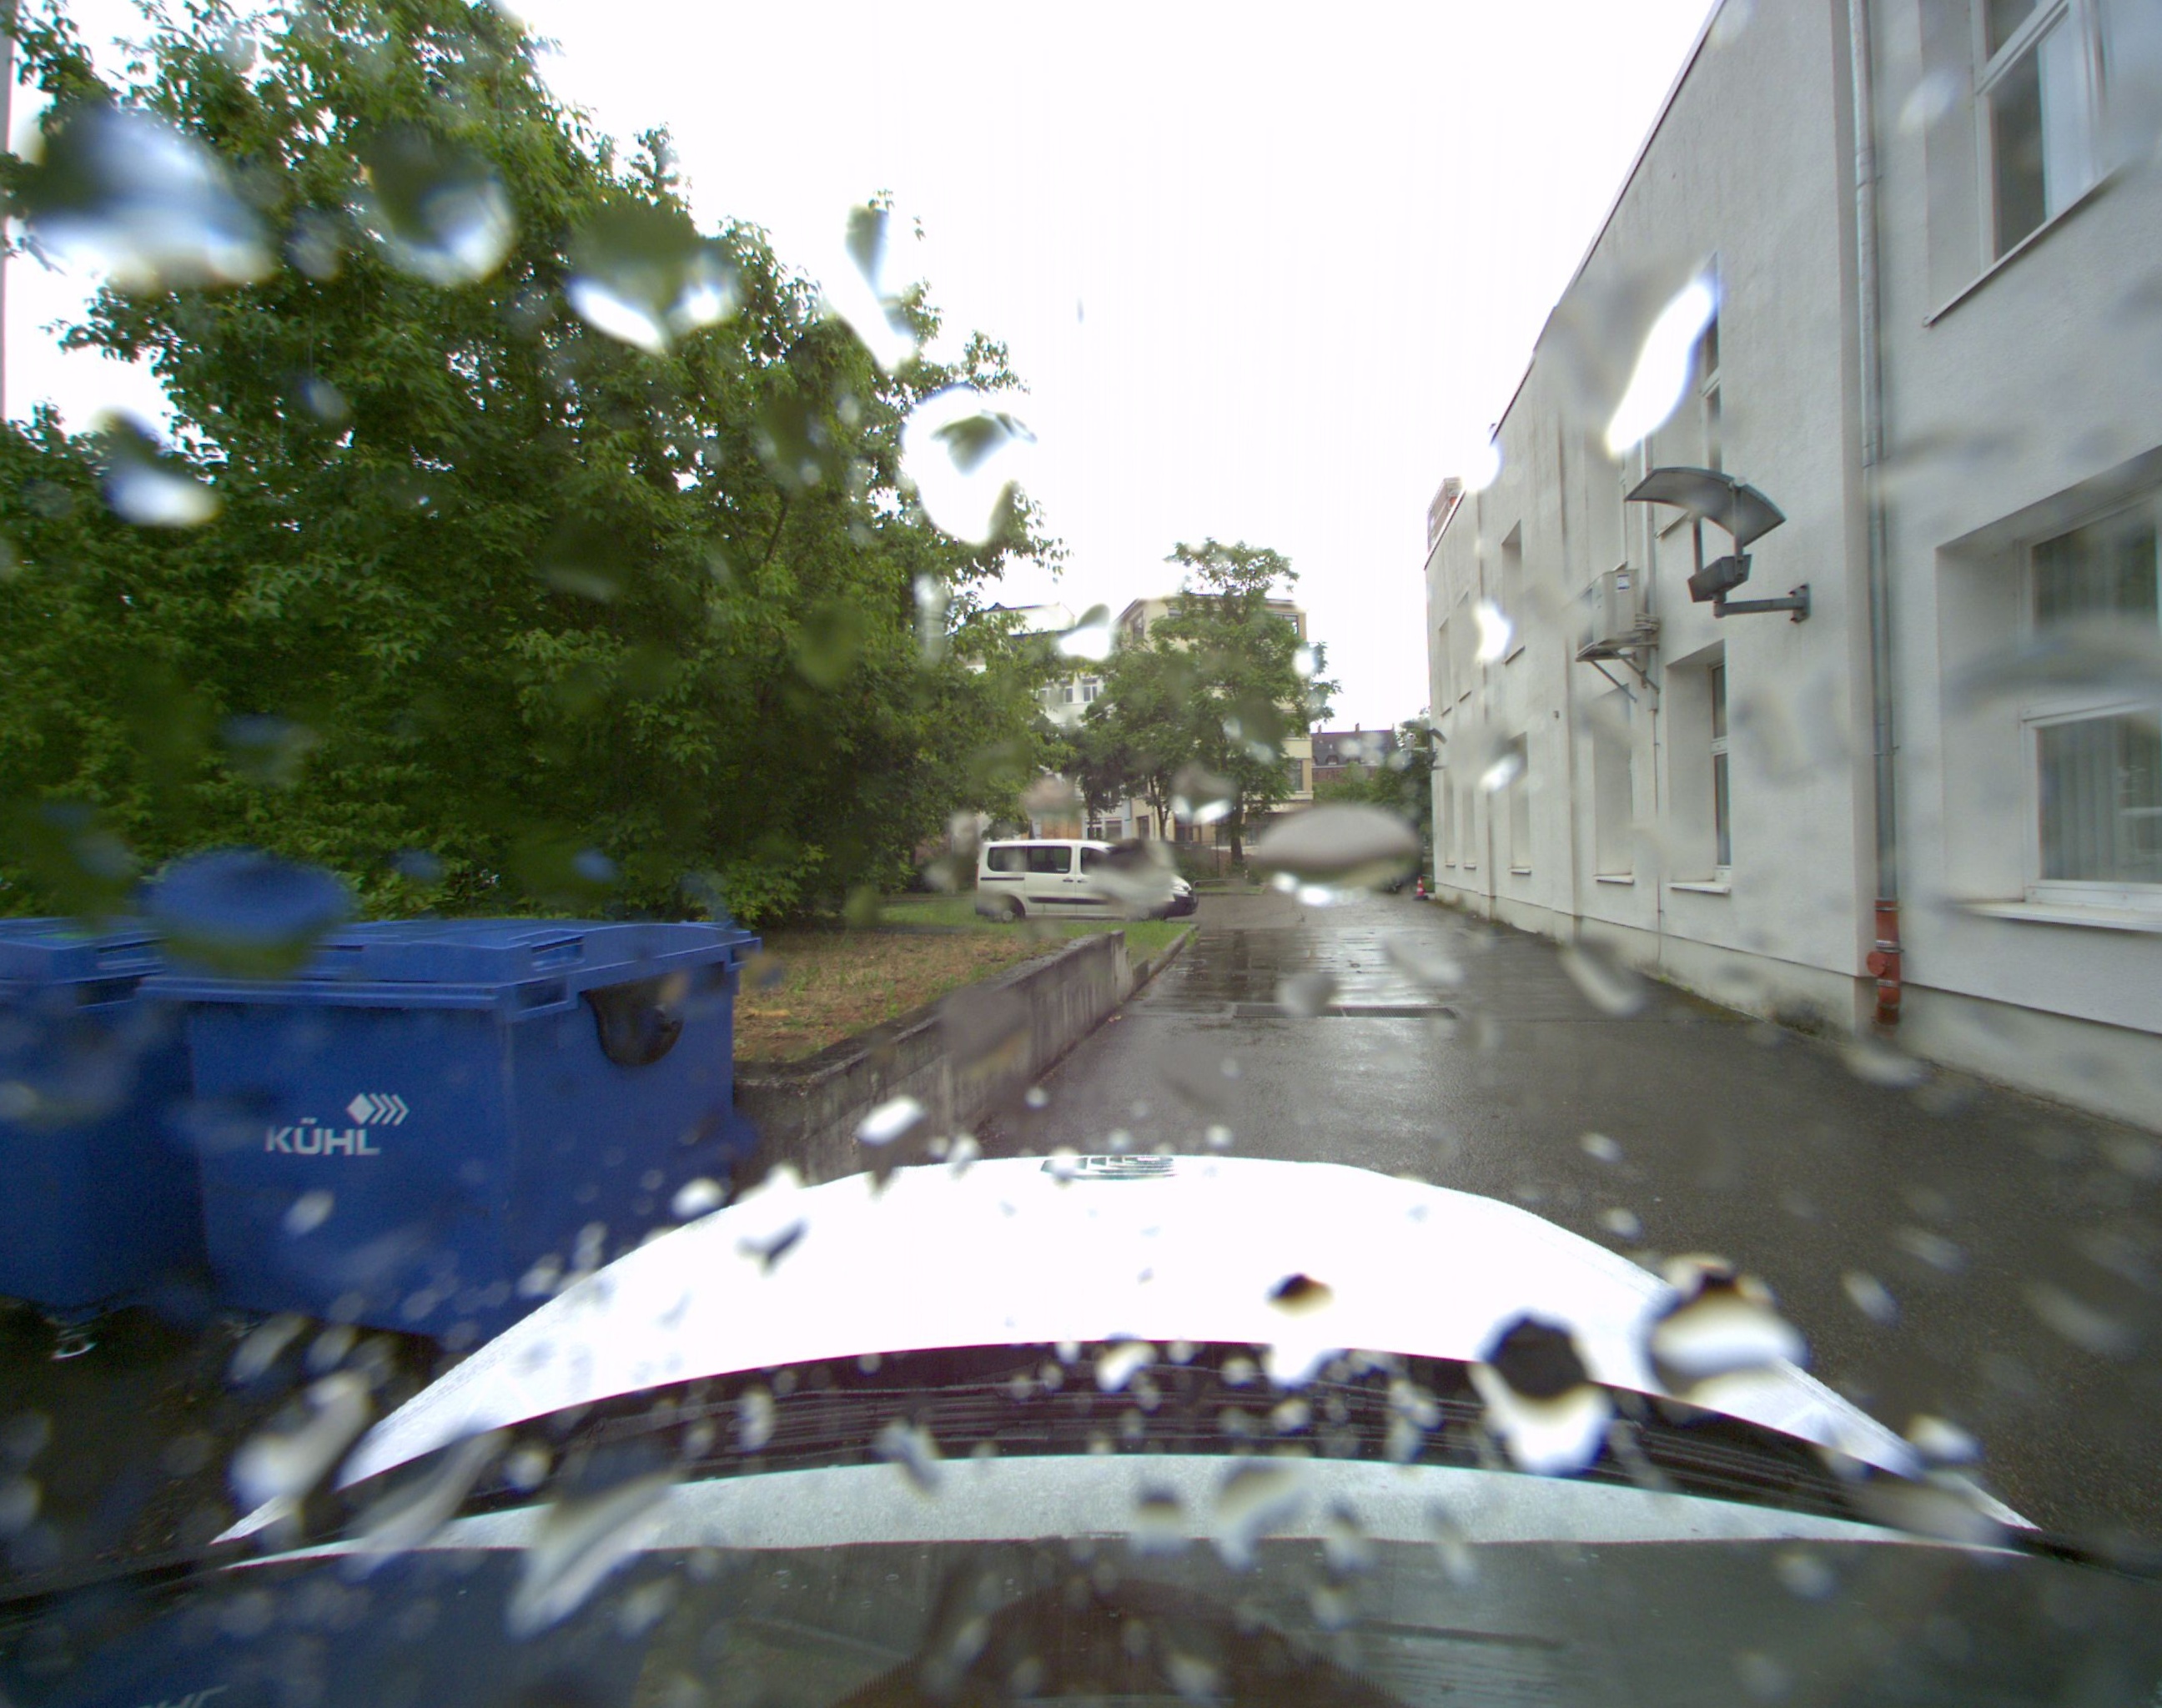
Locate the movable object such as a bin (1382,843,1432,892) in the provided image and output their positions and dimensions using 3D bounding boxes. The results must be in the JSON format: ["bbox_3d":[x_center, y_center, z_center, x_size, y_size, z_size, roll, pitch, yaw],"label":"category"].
[{"bbox_3d":[10.067,0.433,25.202,1.206,1.437,1.240,-1,-2,12],"label":"movable object such as a bin"}]

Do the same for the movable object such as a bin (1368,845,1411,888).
[{"bbox_3d":[10.760,0.453,28.468,1.206,1.468,1.240,-1,-2,12],"label":"movable object such as a bin"}]

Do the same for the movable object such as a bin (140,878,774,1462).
[{"bbox_3d":[-1.828,0.777,2.559,1.212,1.337,1.010,-2,0,14],"label":"movable object such as a bin"}]

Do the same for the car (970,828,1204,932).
[{"bbox_3d":[0.189,0.564,18.052,4.745,2.013,2.008,-2,0,15],"label":"car"}]

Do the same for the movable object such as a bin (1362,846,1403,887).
[{"bbox_3d":[11.034,0.464,29.823,1.206,1.437,1.263,-1,-2,12],"label":"movable object such as a bin"}]

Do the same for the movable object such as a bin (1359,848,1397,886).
[{"bbox_3d":[11.347,0.510,31.170,1.206,1.437,1.263,-1,-2,12],"label":"movable object such as a bin"}]

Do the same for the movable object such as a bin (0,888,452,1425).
[{"bbox_3d":[-3.136,0.827,2.755,1.212,1.337,1.010,-2,1,14],"label":"movable object such as a bin"}]

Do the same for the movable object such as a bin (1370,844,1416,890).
[{"bbox_3d":[10.290,0.442,26.895,1.206,1.437,1.298,-1,-2,12],"label":"movable object such as a bin"}]
